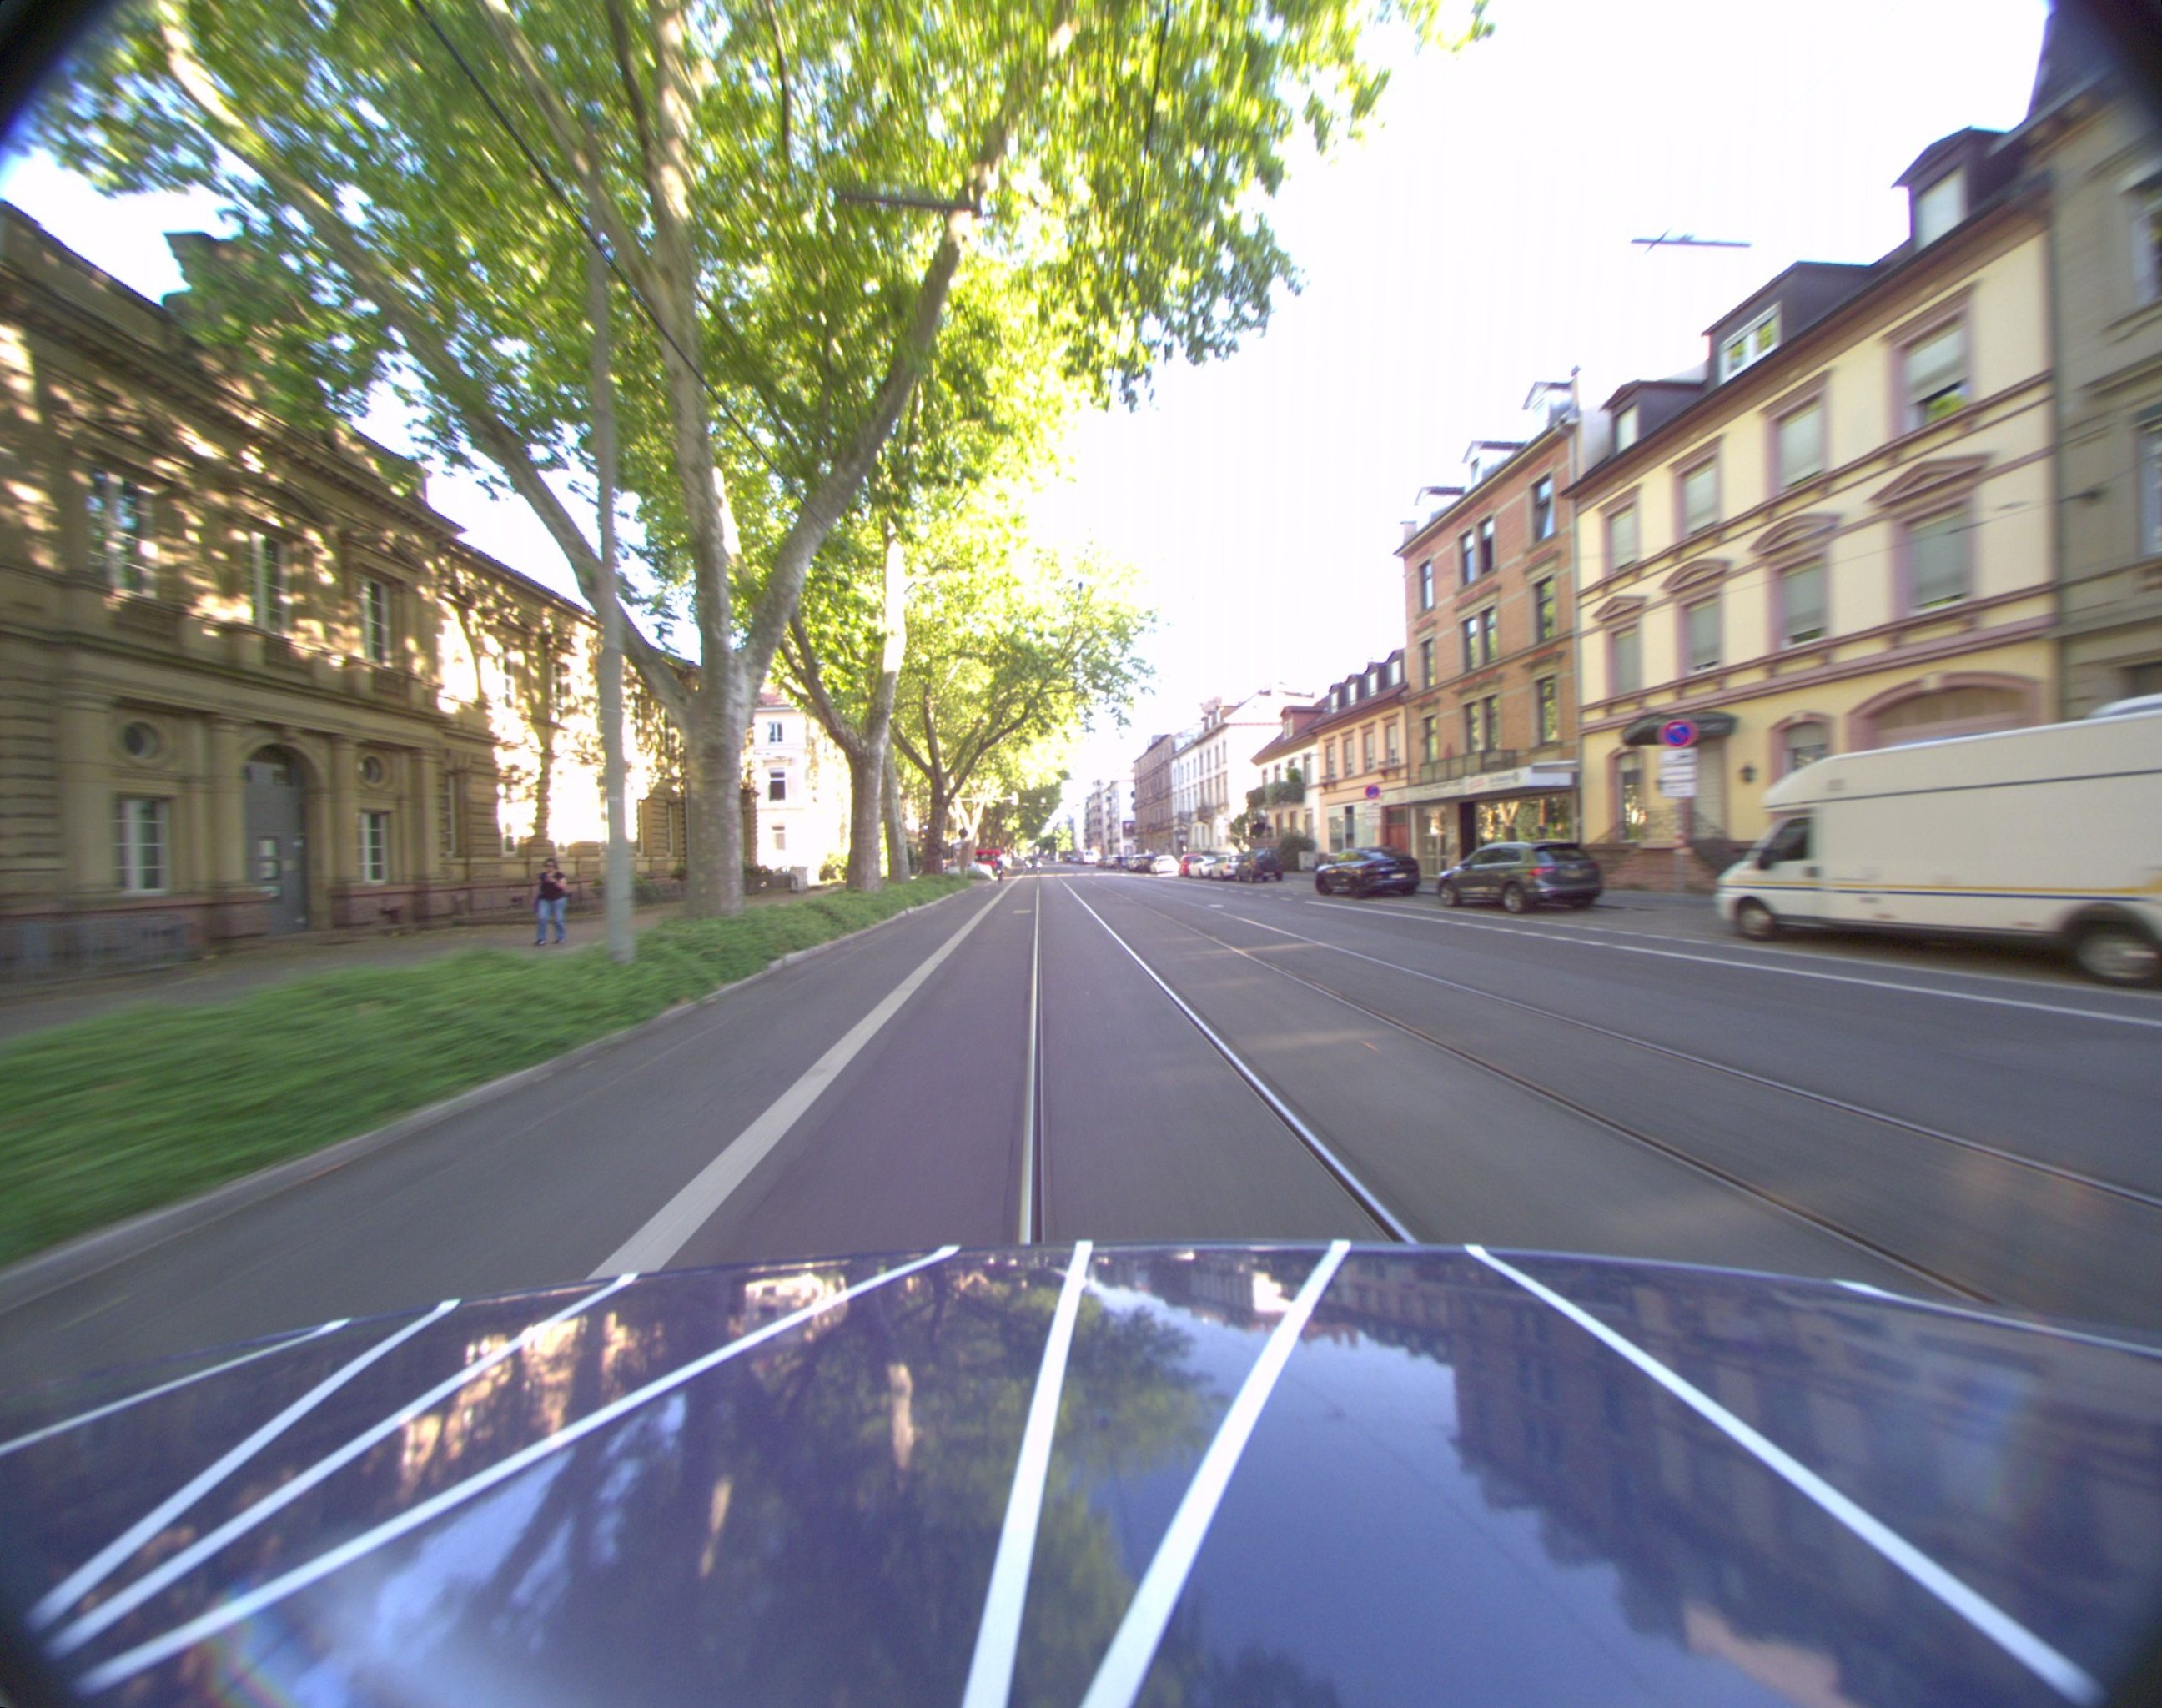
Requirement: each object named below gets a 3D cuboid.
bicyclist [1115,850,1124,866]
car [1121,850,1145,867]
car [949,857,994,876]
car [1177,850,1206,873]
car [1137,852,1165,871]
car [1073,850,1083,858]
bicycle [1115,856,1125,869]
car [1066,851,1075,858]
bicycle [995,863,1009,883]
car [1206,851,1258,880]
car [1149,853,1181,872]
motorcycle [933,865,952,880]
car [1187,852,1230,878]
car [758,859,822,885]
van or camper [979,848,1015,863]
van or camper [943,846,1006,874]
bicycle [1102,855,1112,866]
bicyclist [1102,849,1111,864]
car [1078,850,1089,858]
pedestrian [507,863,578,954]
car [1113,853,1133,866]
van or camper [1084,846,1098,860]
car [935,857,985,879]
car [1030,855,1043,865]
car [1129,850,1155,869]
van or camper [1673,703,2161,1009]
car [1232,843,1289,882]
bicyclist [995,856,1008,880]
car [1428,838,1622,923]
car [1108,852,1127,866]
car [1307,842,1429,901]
[{"bbox_3d":[3.607,0.361,71.296,0.715,1.508,0.953,-2,1,-3],"label":"bicyclist"},{"bbox_3d":[5.482,0.492,80.564,1.799,1.630,4.574,-4,0,-4],"label":"car"},{"bbox_3d":[-9.227,1.084,64.253,3.678,1.411,1.614,-2,3,-4],"label":"car"},{"bbox_3d":[7.774,0.505,53.721,1.422,1.502,3.325,-4,0,-1],"label":"car"},{"bbox_3d":[6.347,0.628,69.053,1.799,1.587,4.081,-4,0,-4],"label":"car"},{"bbox_3d":[-0.665,-0.038,166.346,1.809,1.534,3.916,-4,0,-6],"label":"car"},{"bbox_3d":[3.623,0.770,71.333,0.715,1.131,2.119,-2,0,-3],"label":"bicycle"},{"bbox_3d":[-2.529,0.018,181.352,1.809,1.534,3.916,-4,0,-6],"label":"car"},{"bbox_3d":[-4.763,1.126,45.682,0.715,1.131,2.119,-2,0,-3],"label":"bicycle"},{"bbox_3d":[8.456,0.605,42.912,1.668,1.446,4.402,-4,0,-5],"label":"car"},{"bbox_3d":[7.009,0.669,63.946,1.869,1.423,4.081,-4,0,-4],"label":"car"},{"bbox_3d":[-9.633,1.279,52.957,1.274,1.048,0.394,-2,1,-41],"label":"motorcycle"},{"bbox_3d":[8.027,0.650,48.320,1.587,1.482,4.468,-4,0,-5],"label":"car"},{"bbox_3d":[-19.216,1.160,50.291,3.573,1.535,1.735,-2,3,-4],"label":"car"},{"bbox_3d":[-14.717,0.311,133.251,6.101,2.417,2.427,-2,1,-4],"label":"van or camper"},{"bbox_3d":[-10.214,0.551,73.271,5.930,2.484,2.219,-2,3,-6],"label":"van or camper"},{"bbox_3d":[2.733,0.675,80.897,0.715,1.131,2.119,-2,0,-8],"label":"bicycle"},{"bbox_3d":[2.717,0.268,80.911,0.715,1.508,0.953,-2,1,-8],"label":"bicyclist"},{"bbox_3d":[0.507,-0.070,154.910,1.809,1.534,3.917,-4,0,-5],"label":"car"},{"bbox_3d":[-10.682,1.058,15.101,0.652,1.726,1.007,-2,1,-3],"label":"pedestrian"},{"bbox_3d":[4.874,0.594,89.407,1.799,1.368,4.081,-4,0,-4],"label":"car"},{"bbox_3d":[1.678,-0.190,129.815,1.945,2.267,4.596,-4,0,-5],"label":"van or camper"},{"bbox_3d":[-9.374,1.058,59.091,3.678,1.535,1.614,-2,3,-4],"label":"car"},{"bbox_3d":[-6.626,0.896,113.322,1.740,1.365,3.917,-4,0,-5],"label":"car"},{"bbox_3d":[5.917,0.513,74.349,1.799,1.630,4.252,-4,0,-4],"label":"car"},{"bbox_3d":[11.436,-0.080,9.225,2.426,2.930,7.248,-5,1,-3],"label":"van or camper"},{"bbox_3d":[9.056,0.412,38.542,1.729,1.736,3.624,-5,1,-3],"label":"car"},{"bbox_3d":[-4.759,0.843,45.600,0.715,1.435,0.953,-2,1,-2],"label":"bicyclist"},{"bbox_3d":[10.679,0.578,18.733,1.815,1.695,4.441,-5,1,-5],"label":"car"},{"bbox_3d":[4.487,0.623,94.694,1.799,1.617,4.081,-4,0,-4],"label":"car"},{"bbox_3d":[9.822,0.564,26.477,1.999,1.693,4.748,-5,1,-5],"label":"car"}]
